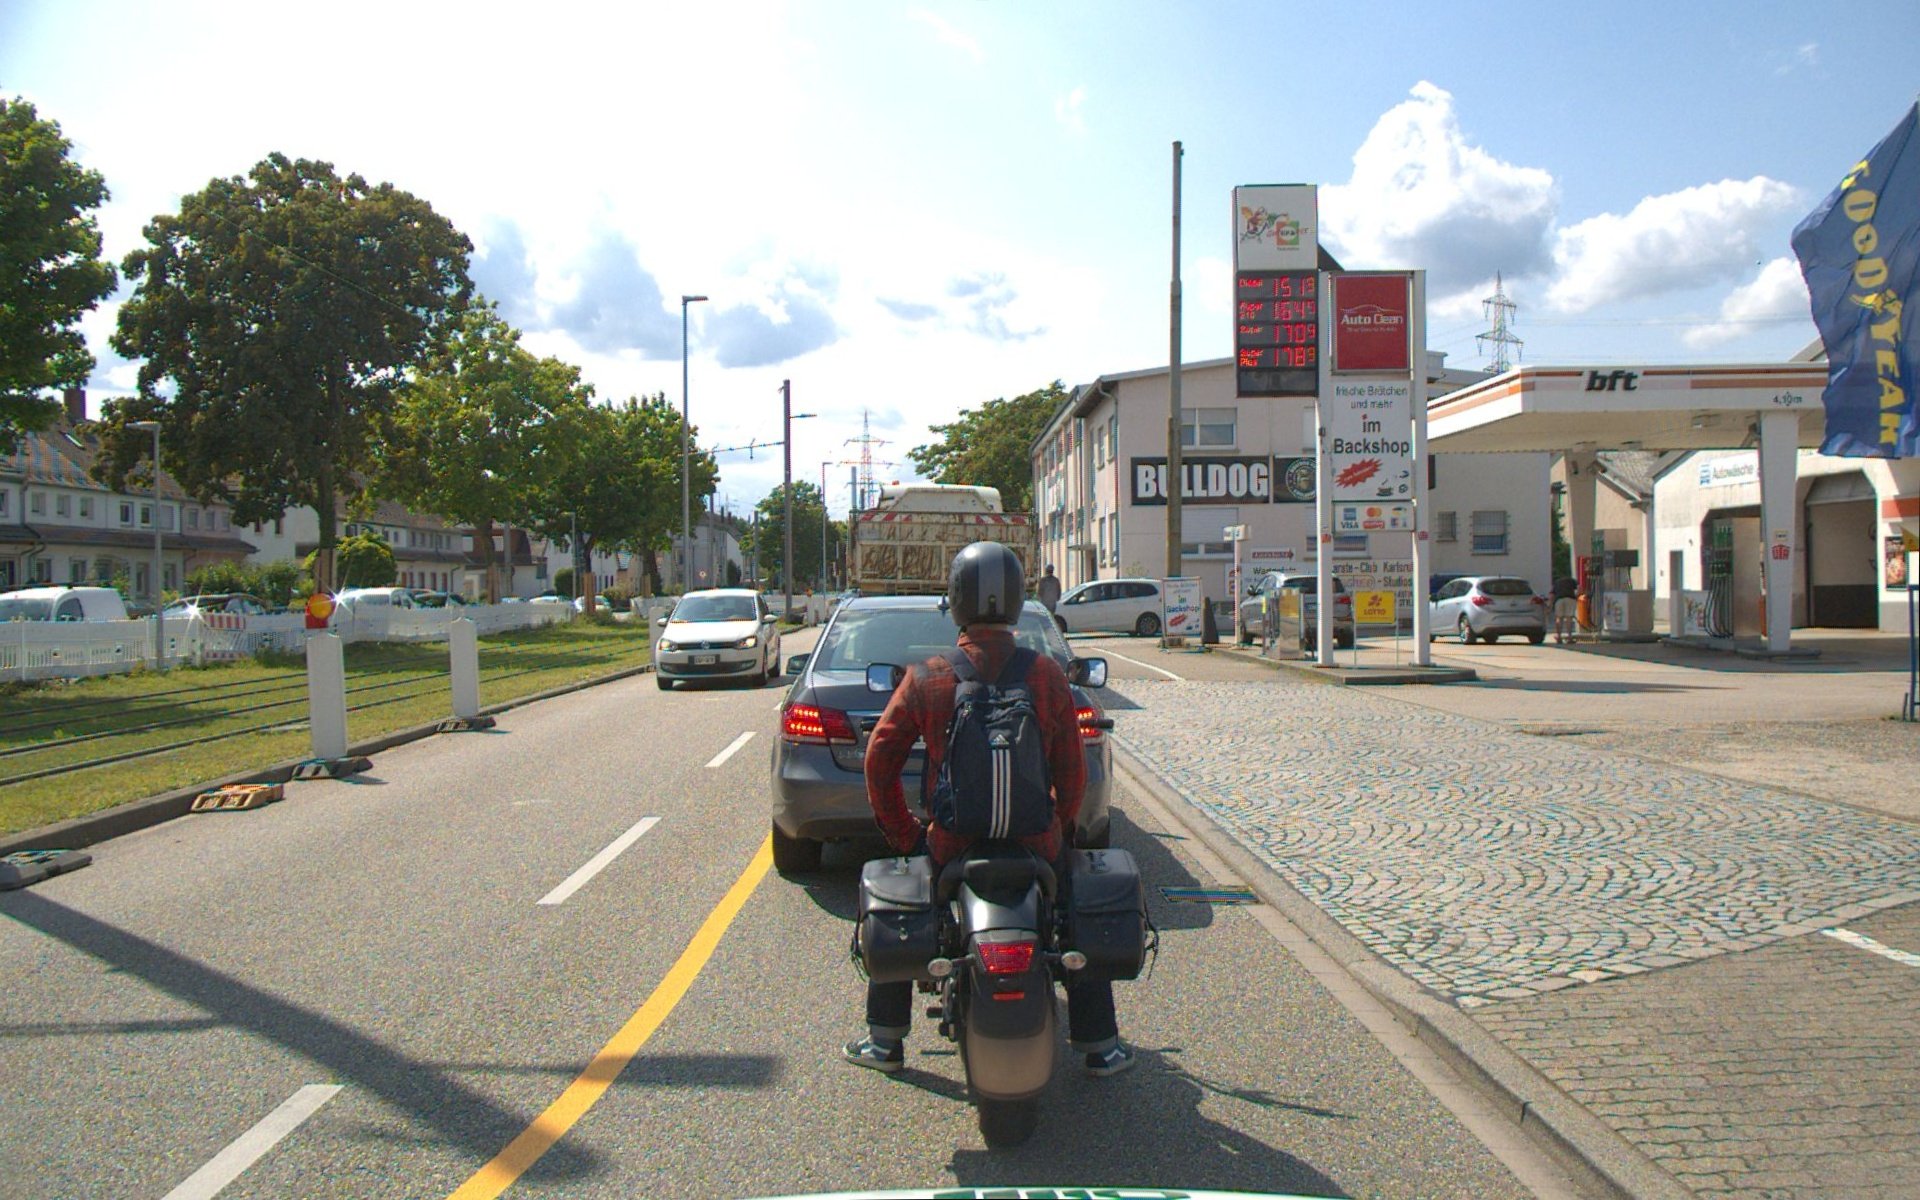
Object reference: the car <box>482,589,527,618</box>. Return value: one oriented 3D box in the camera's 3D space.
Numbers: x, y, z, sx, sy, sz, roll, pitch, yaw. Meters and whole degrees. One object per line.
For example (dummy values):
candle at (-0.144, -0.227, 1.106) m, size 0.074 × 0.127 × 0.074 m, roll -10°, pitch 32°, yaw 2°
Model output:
car at (-28.663, 0.222, 104.145) m, size 1.664 × 1.770 × 4.061 m, roll -1°, pitch 0°, yaw -1°

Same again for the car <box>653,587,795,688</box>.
car at (-3.664, 0.526, 26.297) m, size 1.680 × 1.438 × 4.261 m, roll -1°, pitch 0°, yaw -1°

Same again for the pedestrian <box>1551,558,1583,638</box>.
pedestrian at (13.135, -0.051, 35.789) m, size 0.621 × 1.712 × 0.622 m, roll -1°, pitch 0°, yaw 20°

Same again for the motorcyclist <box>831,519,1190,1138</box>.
motorcyclist at (0.129, 0.613, 5.073) m, size 0.950 × 1.662 × 1.214 m, roll 1°, pitch 0°, yaw -1°

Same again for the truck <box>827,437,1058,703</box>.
truck at (-0.355, -0.426, 25.466) m, size 2.910 × 3.362 × 8.404 m, roll -1°, pitch 0°, yaw -2°

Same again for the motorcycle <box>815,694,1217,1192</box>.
motorcycle at (0.118, 0.896, 5.191) m, size 0.956 × 1.031 × 2.431 m, roll 1°, pitch 0°, yaw -1°

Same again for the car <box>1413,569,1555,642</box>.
car at (11.773, 0.098, 37.417) m, size 1.795 × 1.505 × 4.008 m, roll -1°, pitch 0°, yaw -2°

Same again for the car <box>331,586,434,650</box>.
car at (-16.922, 0.487, 48.613) m, size 1.664 × 1.770 × 3.860 m, roll -1°, pitch 0°, yaw -1°

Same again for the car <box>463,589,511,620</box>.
car at (-28.061, 0.251, 98.143) m, size 1.664 × 1.770 × 4.061 m, roll -1°, pitch 0°, yaw -1°

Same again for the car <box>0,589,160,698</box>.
car at (-16.417, 0.738, 30.292) m, size 1.664 × 1.849 × 3.860 m, roll -1°, pitch 0°, yaw -1°

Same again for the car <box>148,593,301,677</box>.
car at (-16.672, 0.751, 37.715) m, size 1.664 × 1.770 × 4.053 m, roll -1°, pitch 0°, yaw -1°

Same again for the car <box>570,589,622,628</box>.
car at (-17.491, 0.399, 79.612) m, size 1.664 × 1.770 × 3.860 m, roll -1°, pitch 0°, yaw -1°

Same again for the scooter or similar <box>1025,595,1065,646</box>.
scooter or similar at (2.032, 0.481, 39.746) m, size 0.780 × 1.165 × 1.518 m, roll -1°, pitch 0°, yaw -4°

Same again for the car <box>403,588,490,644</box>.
car at (-17.019, 0.491, 54.979) m, size 1.664 × 1.770 × 3.860 m, roll -1°, pitch 0°, yaw -1°

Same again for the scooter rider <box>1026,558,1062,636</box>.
scooter rider at (2.019, -0.069, 39.709) m, size 0.779 × 1.850 × 0.508 m, roll -1°, pitch 0°, yaw -4°

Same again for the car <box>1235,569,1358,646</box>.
car at (7.402, 0.138, 36.752) m, size 1.795 × 1.562 × 4.008 m, roll -1°, pitch 0°, yaw -2°

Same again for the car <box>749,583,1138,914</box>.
car at (-0.136, 0.676, 9.763) m, size 1.795 × 1.505 × 4.008 m, roll -1°, pitch 0°, yaw -2°

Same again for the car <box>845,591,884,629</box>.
car at (-4.430, 0.434, 77.140) m, size 1.646 × 1.652 × 4.118 m, roll -1°, pitch 0°, yaw -1°

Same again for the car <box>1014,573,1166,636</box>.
car at (3.671, 0.113, 47.081) m, size 4.029 × 1.652 × 1.682 m, roll -1°, pitch 0°, yaw -9°
